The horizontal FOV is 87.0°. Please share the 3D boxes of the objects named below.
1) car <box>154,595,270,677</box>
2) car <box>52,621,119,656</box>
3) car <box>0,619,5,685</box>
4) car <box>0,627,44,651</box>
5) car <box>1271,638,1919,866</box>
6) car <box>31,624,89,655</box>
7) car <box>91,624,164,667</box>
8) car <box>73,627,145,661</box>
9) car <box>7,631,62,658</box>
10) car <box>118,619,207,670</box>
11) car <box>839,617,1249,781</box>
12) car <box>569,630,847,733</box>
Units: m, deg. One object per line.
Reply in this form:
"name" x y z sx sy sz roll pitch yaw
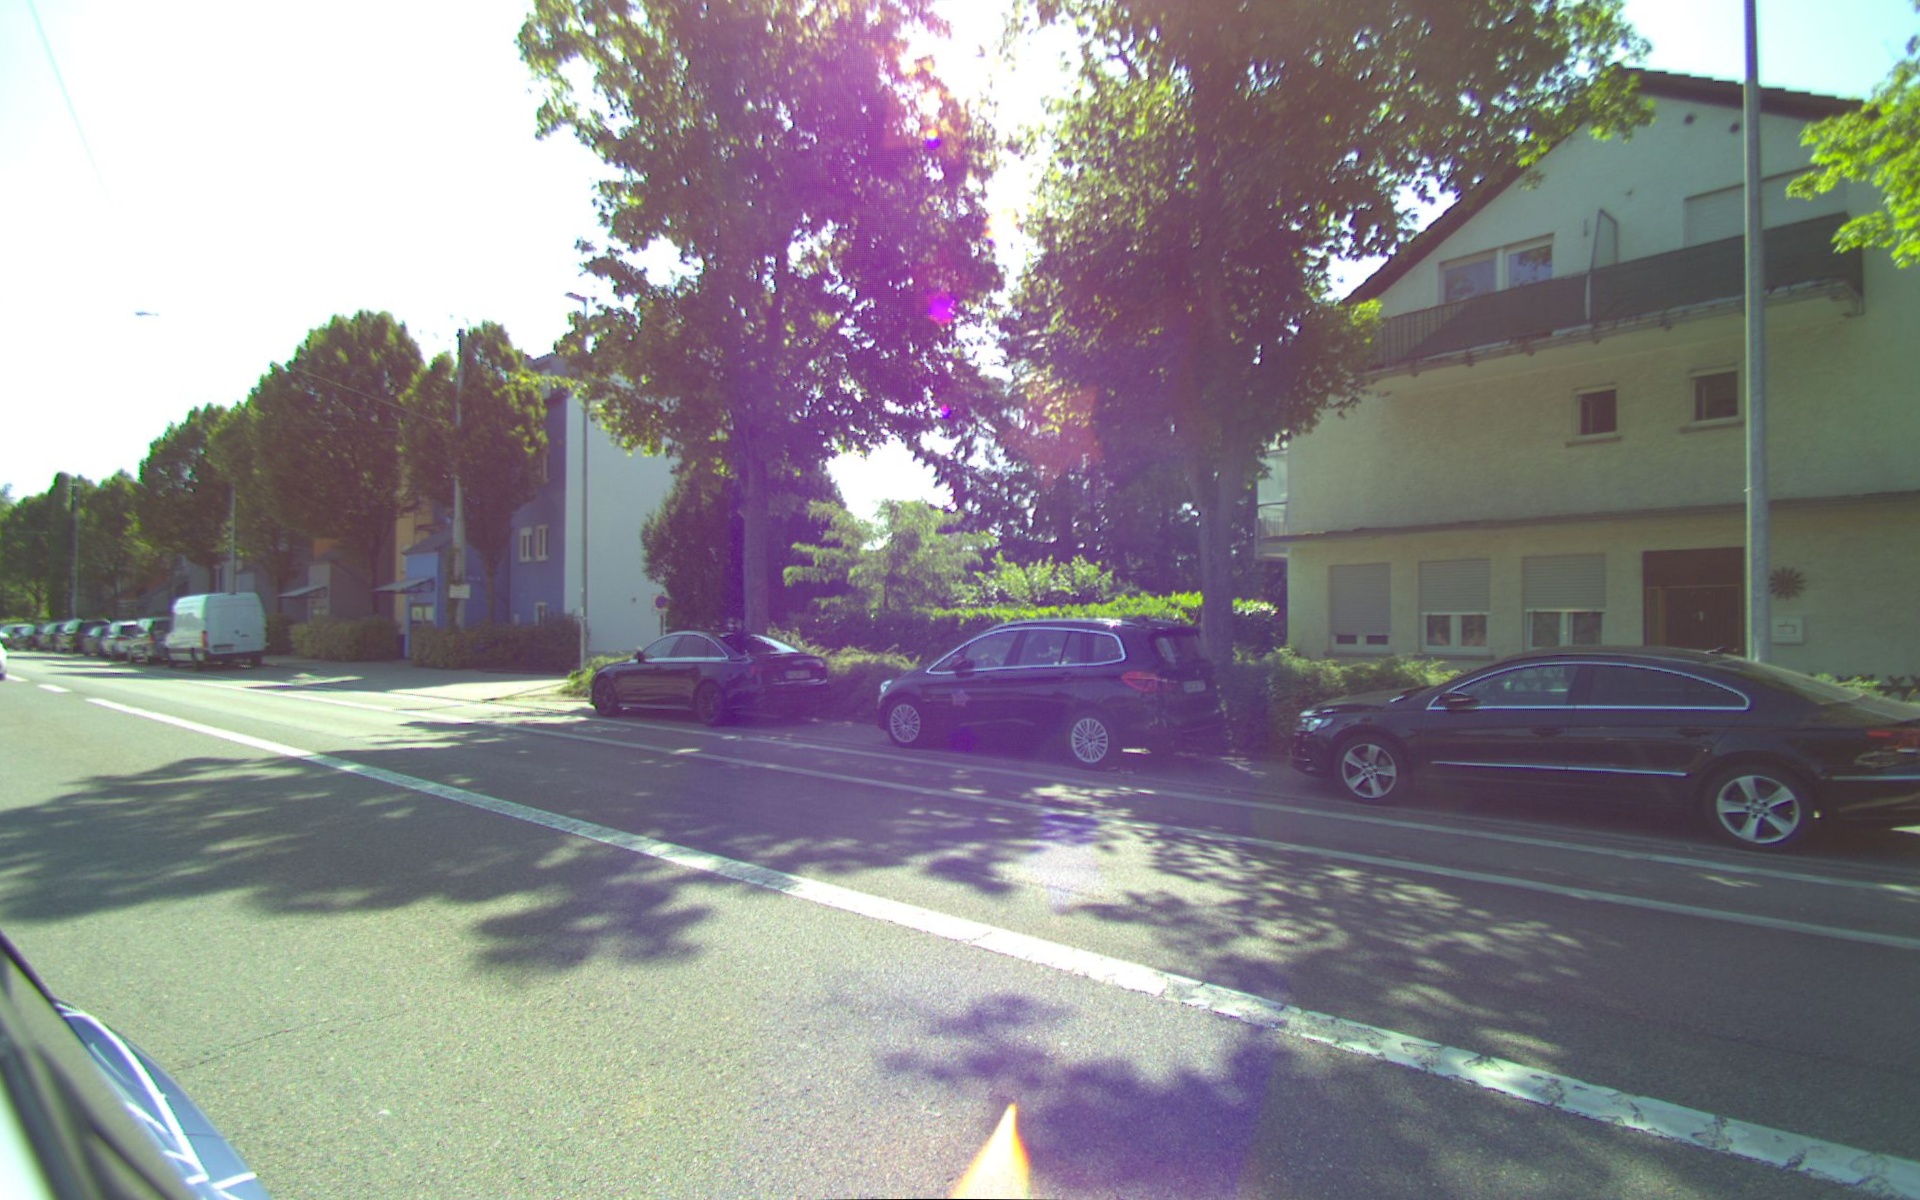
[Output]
"car" -27.667 1.278 37.307 7.084 2.697 1.973 -2 1 42
"car" -45.845 1.979 53.026 4.343 1.741 1.812 -1 0 38
"car" -25.051 1.279 24.939 4.391 1.559 1.762 -1 -1 40
"car" -60.255 2.479 64.558 4.826 1.457 1.663 -1 -1 35
"car" 5.222 1.045 8.389 4.779 1.390 1.673 -2 -1 41
"car" -49.883 2.141 56.069 4.159 1.619 1.661 -1 -1 37
"car" -37.988 2.031 46.150 4.539 1.715 1.829 -1 2 42
"car" -41.777 2.122 49.660 4.069 1.466 1.849 -1 1 37
"car" -54.904 2.604 60.022 4.206 1.481 1.662 -1 -1 37
"car" -33.663 1.831 42.672 4.964 1.879 1.973 -1 2 41
"car" 0.822 1.042 12.290 4.891 1.618 1.743 -1 -2 41
"car" -4.269 1.233 16.726 4.903 1.477 1.822 -1 -2 38
